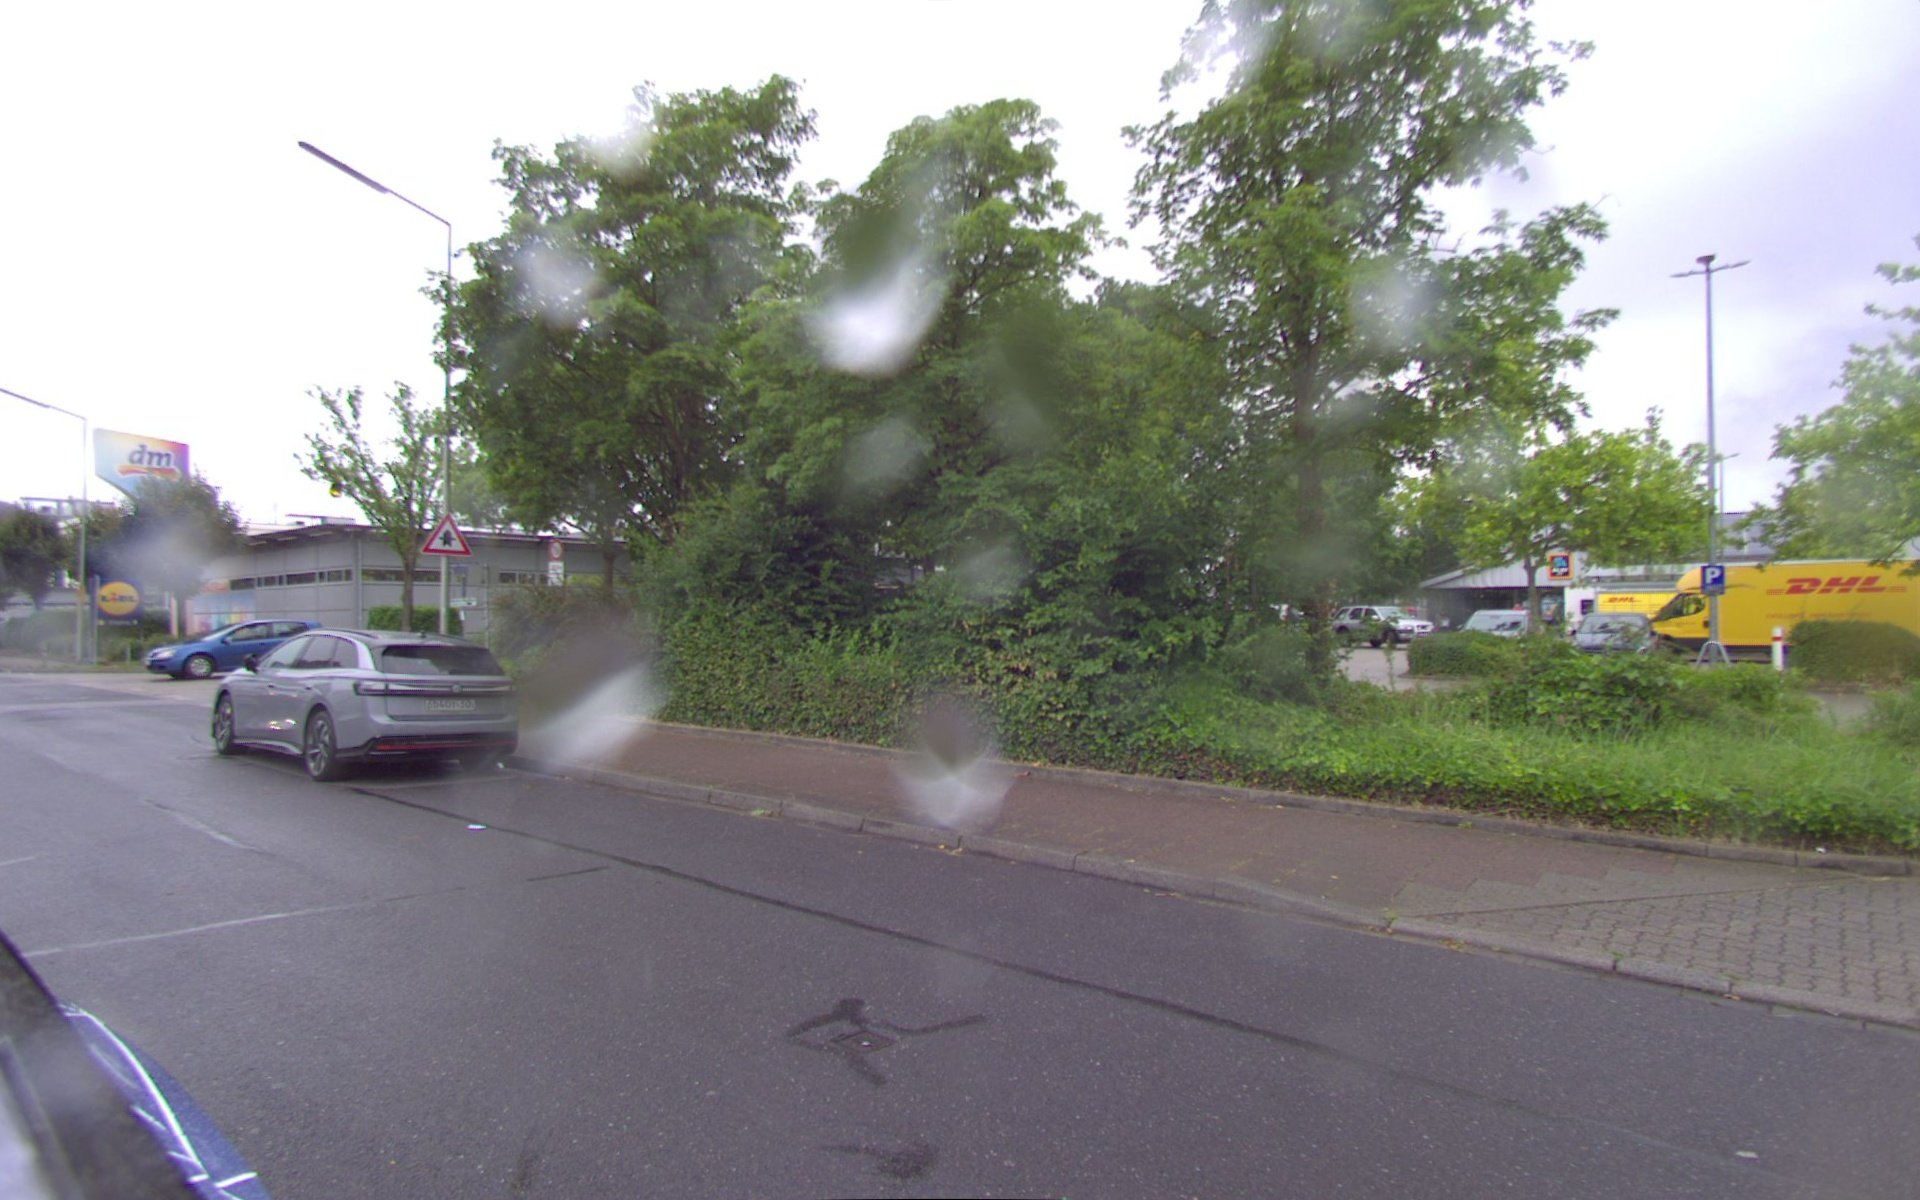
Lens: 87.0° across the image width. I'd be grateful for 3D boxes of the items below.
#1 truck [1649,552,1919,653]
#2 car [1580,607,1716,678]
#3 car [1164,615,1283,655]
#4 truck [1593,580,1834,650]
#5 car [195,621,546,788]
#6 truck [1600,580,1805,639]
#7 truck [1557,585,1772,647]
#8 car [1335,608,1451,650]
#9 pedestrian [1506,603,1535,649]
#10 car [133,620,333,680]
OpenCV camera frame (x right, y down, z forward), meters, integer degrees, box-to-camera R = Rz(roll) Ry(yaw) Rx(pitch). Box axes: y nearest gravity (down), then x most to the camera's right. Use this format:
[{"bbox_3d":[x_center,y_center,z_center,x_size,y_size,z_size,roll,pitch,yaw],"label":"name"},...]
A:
[{"bbox_3d":[23.536,0.119,28.705,6.392,2.621,1.973,-1,-2,41],"label":"truck"},{"bbox_3d":[15.486,0.896,22.705,2.000,1.431,3.944,-2,-1,42],"label":"car"},{"bbox_3d":[10.024,1.302,38.535,3.988,1.431,1.978,-1,-1,33],"label":"car"},{"bbox_3d":[24.472,0.520,33.179,6.124,2.110,1.975,-1,-1,37],"label":"truck"},{"bbox_3d":[-6.863,1.067,11.567,4.742,1.540,1.791,-1,-5,38],"label":"car"},{"bbox_3d":[28.009,0.409,38.434,6.124,2.076,1.975,-1,-2,37],"label":"truck"},{"bbox_3d":[25.015,0.591,36.178,6.124,2.076,1.975,-1,-2,37],"label":"truck"},{"bbox_3d":[17.091,1.124,40.219,1.993,1.562,4.306,0,-1,-14],"label":"car"},{"bbox_3d":[24.890,1.147,44.935,0.911,1.977,1.291,-1,-2,39],"label":"pedestrian"},{"bbox_3d":[-18.965,1.274,26.542,1.734,1.452,3.948,-2,-2,38],"label":"car"}]
